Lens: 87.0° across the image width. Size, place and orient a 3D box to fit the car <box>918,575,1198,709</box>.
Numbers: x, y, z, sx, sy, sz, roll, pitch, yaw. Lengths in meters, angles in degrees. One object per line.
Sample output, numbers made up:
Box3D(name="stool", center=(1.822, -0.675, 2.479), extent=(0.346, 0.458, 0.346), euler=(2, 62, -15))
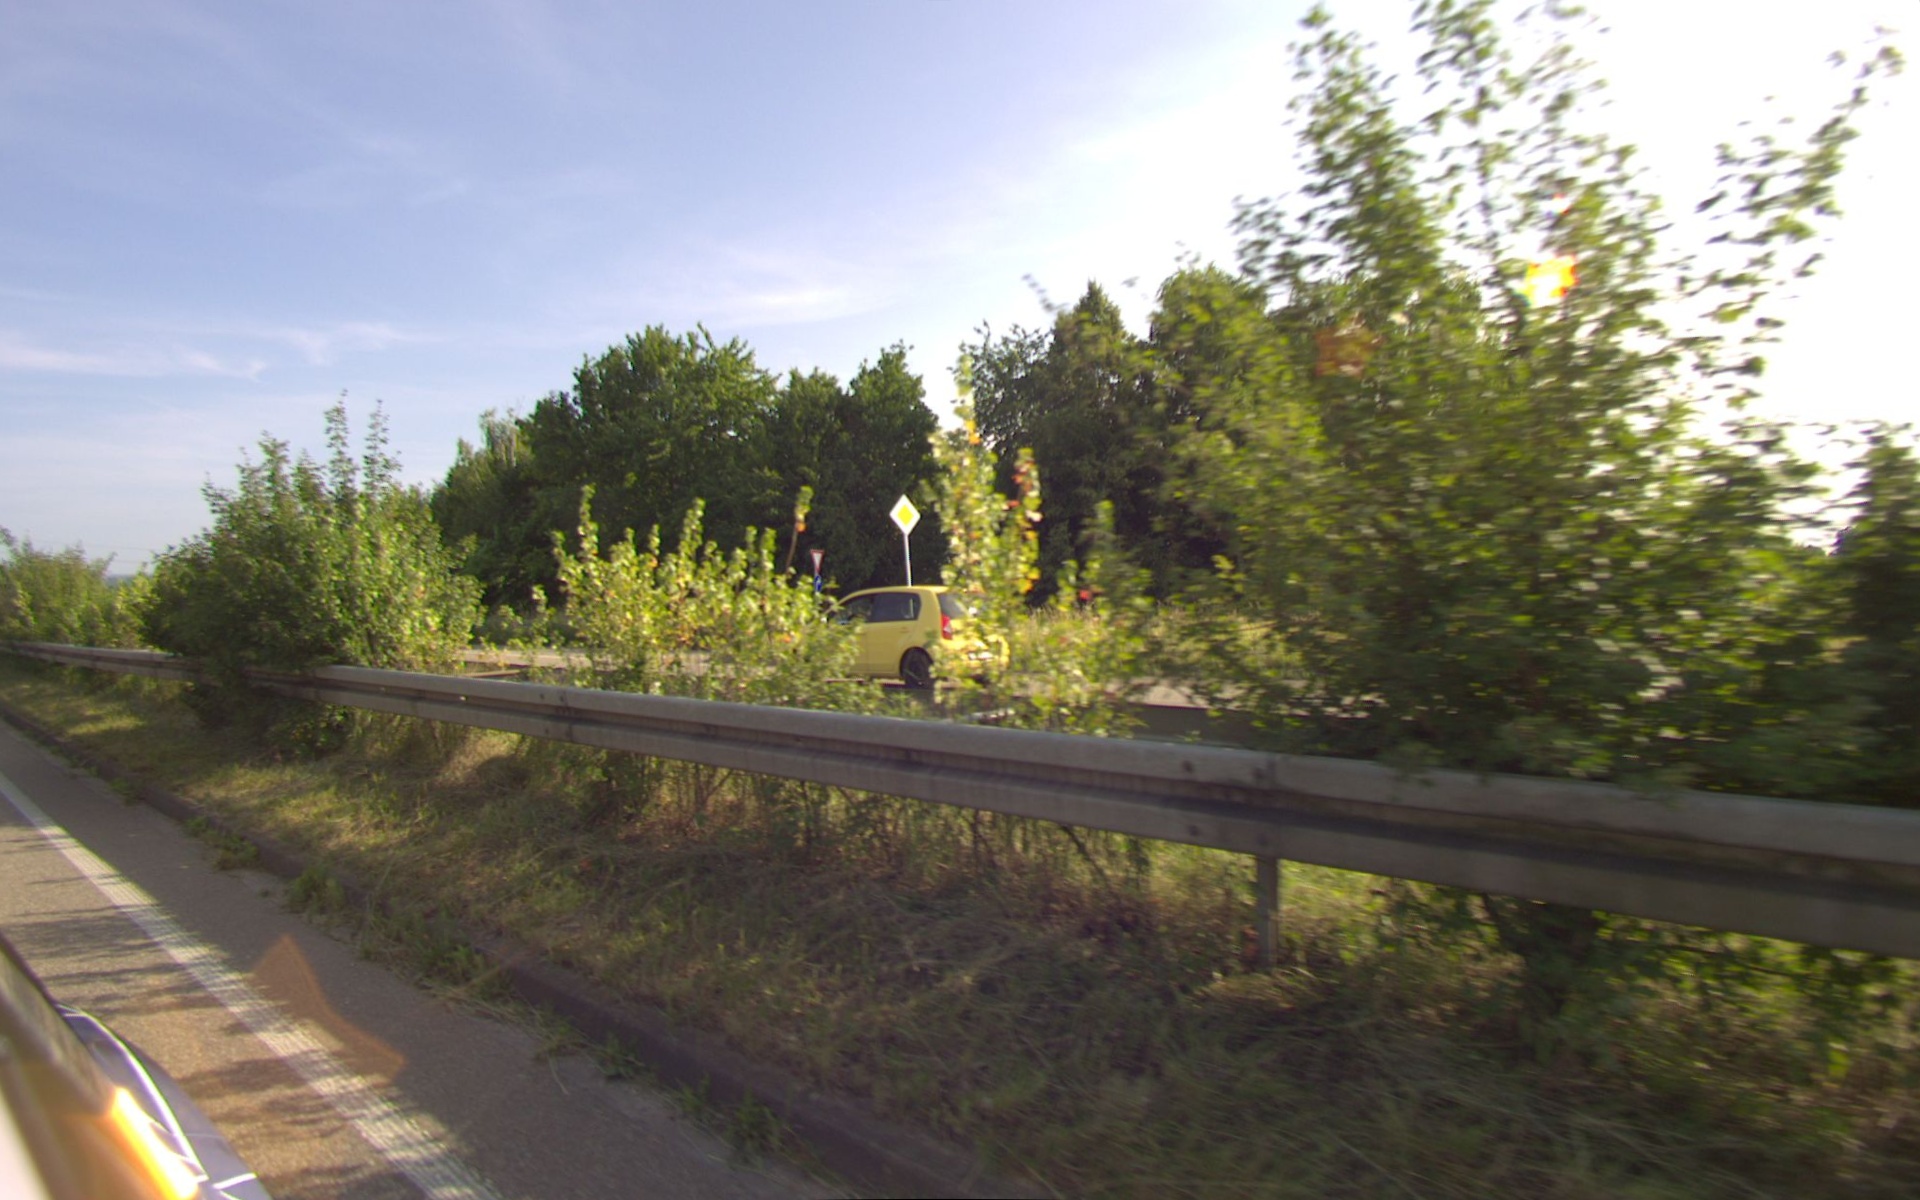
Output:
Box3D(name="car", center=(1.181, 0.486, 12.902), extent=(3.237, 1.486, 1.626), euler=(-1, -1, 42))
